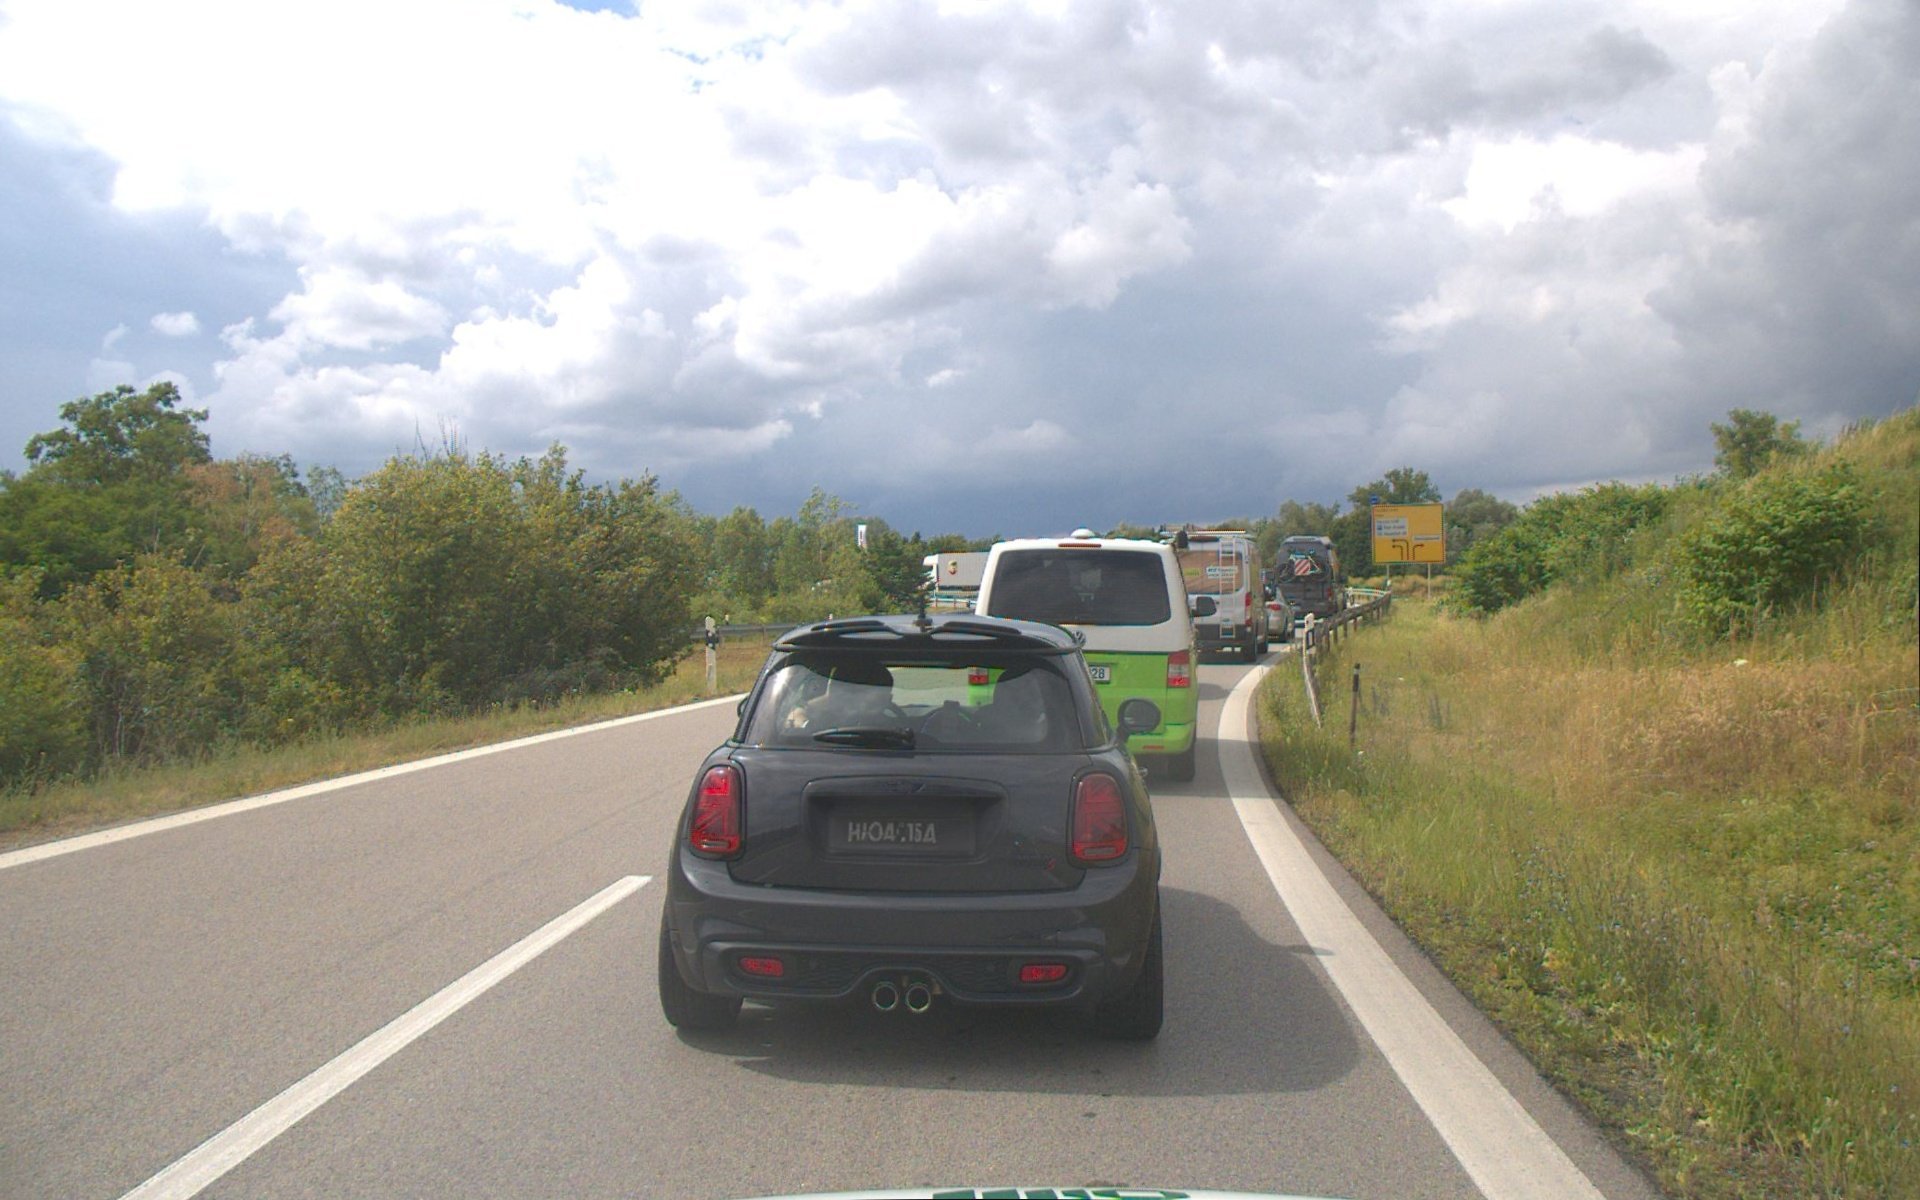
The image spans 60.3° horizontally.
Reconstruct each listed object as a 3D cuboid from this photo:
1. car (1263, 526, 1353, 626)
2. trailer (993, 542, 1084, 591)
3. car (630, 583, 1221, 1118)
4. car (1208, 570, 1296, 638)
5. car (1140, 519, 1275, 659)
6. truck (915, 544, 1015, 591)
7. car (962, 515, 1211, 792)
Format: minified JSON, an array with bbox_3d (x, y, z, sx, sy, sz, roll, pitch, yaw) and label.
[{"bbox_3d":[11.786,-0.743,55.595,2.262,3.122,6.665,1,0,18],"label":"car"},{"bbox_3d":[6.617,-2.776,140.740,3.012,3.966,8.662,1,0,-36],"label":"trailer"},{"bbox_3d":[-0.005,0.729,6.817,1.762,1.573,3.740,0,0,3],"label":"car"},{"bbox_3d":[7.753,0.110,43.681,1.951,1.671,3.931,1,0,15],"label":"car"},{"bbox_3d":[5.271,-0.207,34.494,2.165,2.668,5.538,1,0,15],"label":"car"},{"bbox_3d":[0.369,-2.870,147.772,9.862,4.045,2.825,1,0,45],"label":"truck"},{"bbox_3d":[1.232,0.393,14.606,1.870,2.081,4.184,0,0,8],"label":"car"}]
